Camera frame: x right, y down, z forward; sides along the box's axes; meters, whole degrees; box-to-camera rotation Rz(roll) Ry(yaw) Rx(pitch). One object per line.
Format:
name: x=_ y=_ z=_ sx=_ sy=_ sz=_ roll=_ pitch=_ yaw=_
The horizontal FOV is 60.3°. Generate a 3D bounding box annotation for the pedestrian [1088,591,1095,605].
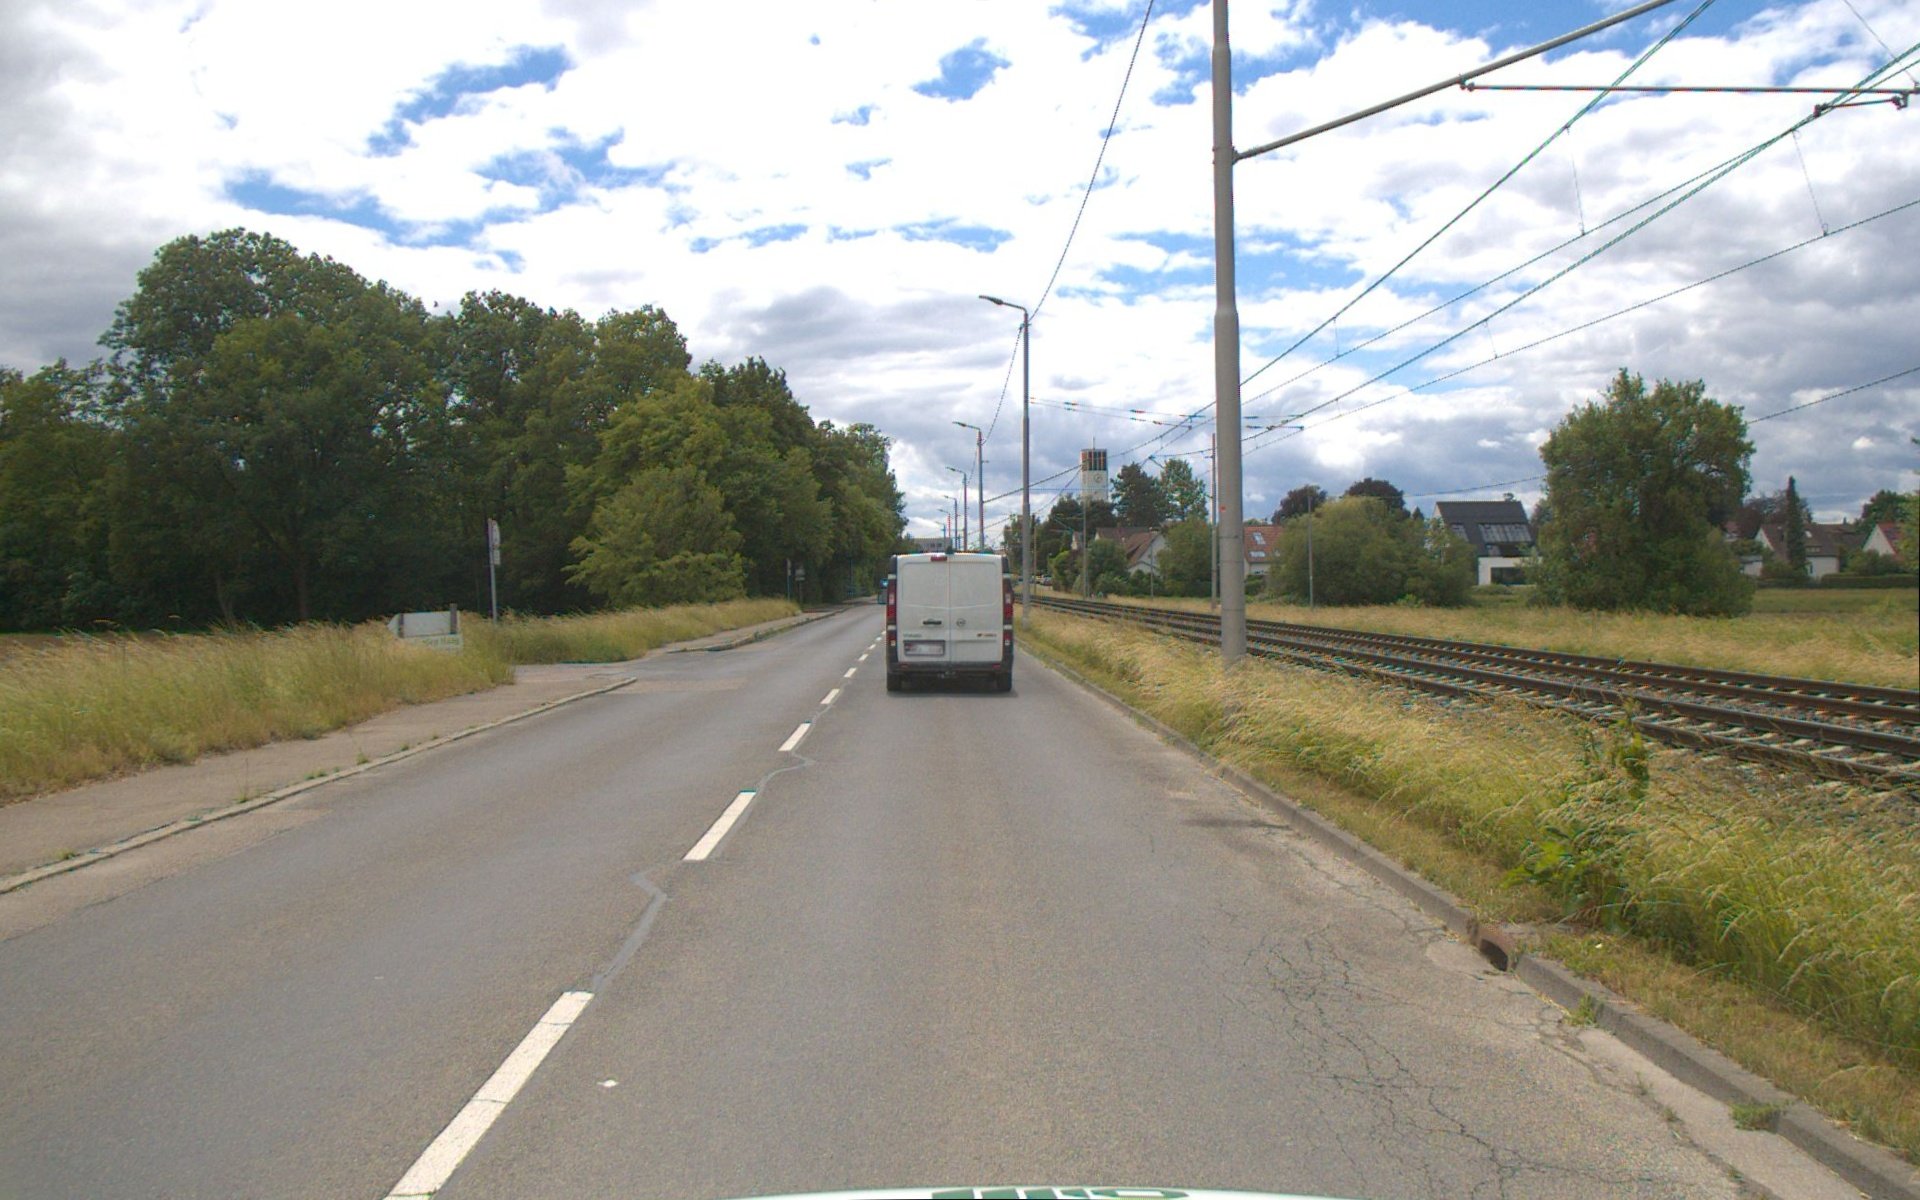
pedestrian: x=14.385 y=-0.217 z=181.253 sx=0.643 sy=1.532 sz=0.656 roll=-1 pitch=0 yaw=-2

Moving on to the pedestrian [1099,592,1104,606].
pedestrian: x=15.318 y=-0.142 z=178.928 sx=0.515 sy=1.532 sz=0.656 roll=-1 pitch=0 yaw=-2

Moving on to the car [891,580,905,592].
car: x=-9.327 y=-2.089 z=249.436 sx=1.953 sy=1.747 sz=4.124 roll=-2 pitch=0 yaw=0

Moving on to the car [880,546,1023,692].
car: x=-0.198 y=0.253 z=24.833 sx=1.953 sy=1.991 sz=3.998 roll=-1 pitch=0 yaw=-2
